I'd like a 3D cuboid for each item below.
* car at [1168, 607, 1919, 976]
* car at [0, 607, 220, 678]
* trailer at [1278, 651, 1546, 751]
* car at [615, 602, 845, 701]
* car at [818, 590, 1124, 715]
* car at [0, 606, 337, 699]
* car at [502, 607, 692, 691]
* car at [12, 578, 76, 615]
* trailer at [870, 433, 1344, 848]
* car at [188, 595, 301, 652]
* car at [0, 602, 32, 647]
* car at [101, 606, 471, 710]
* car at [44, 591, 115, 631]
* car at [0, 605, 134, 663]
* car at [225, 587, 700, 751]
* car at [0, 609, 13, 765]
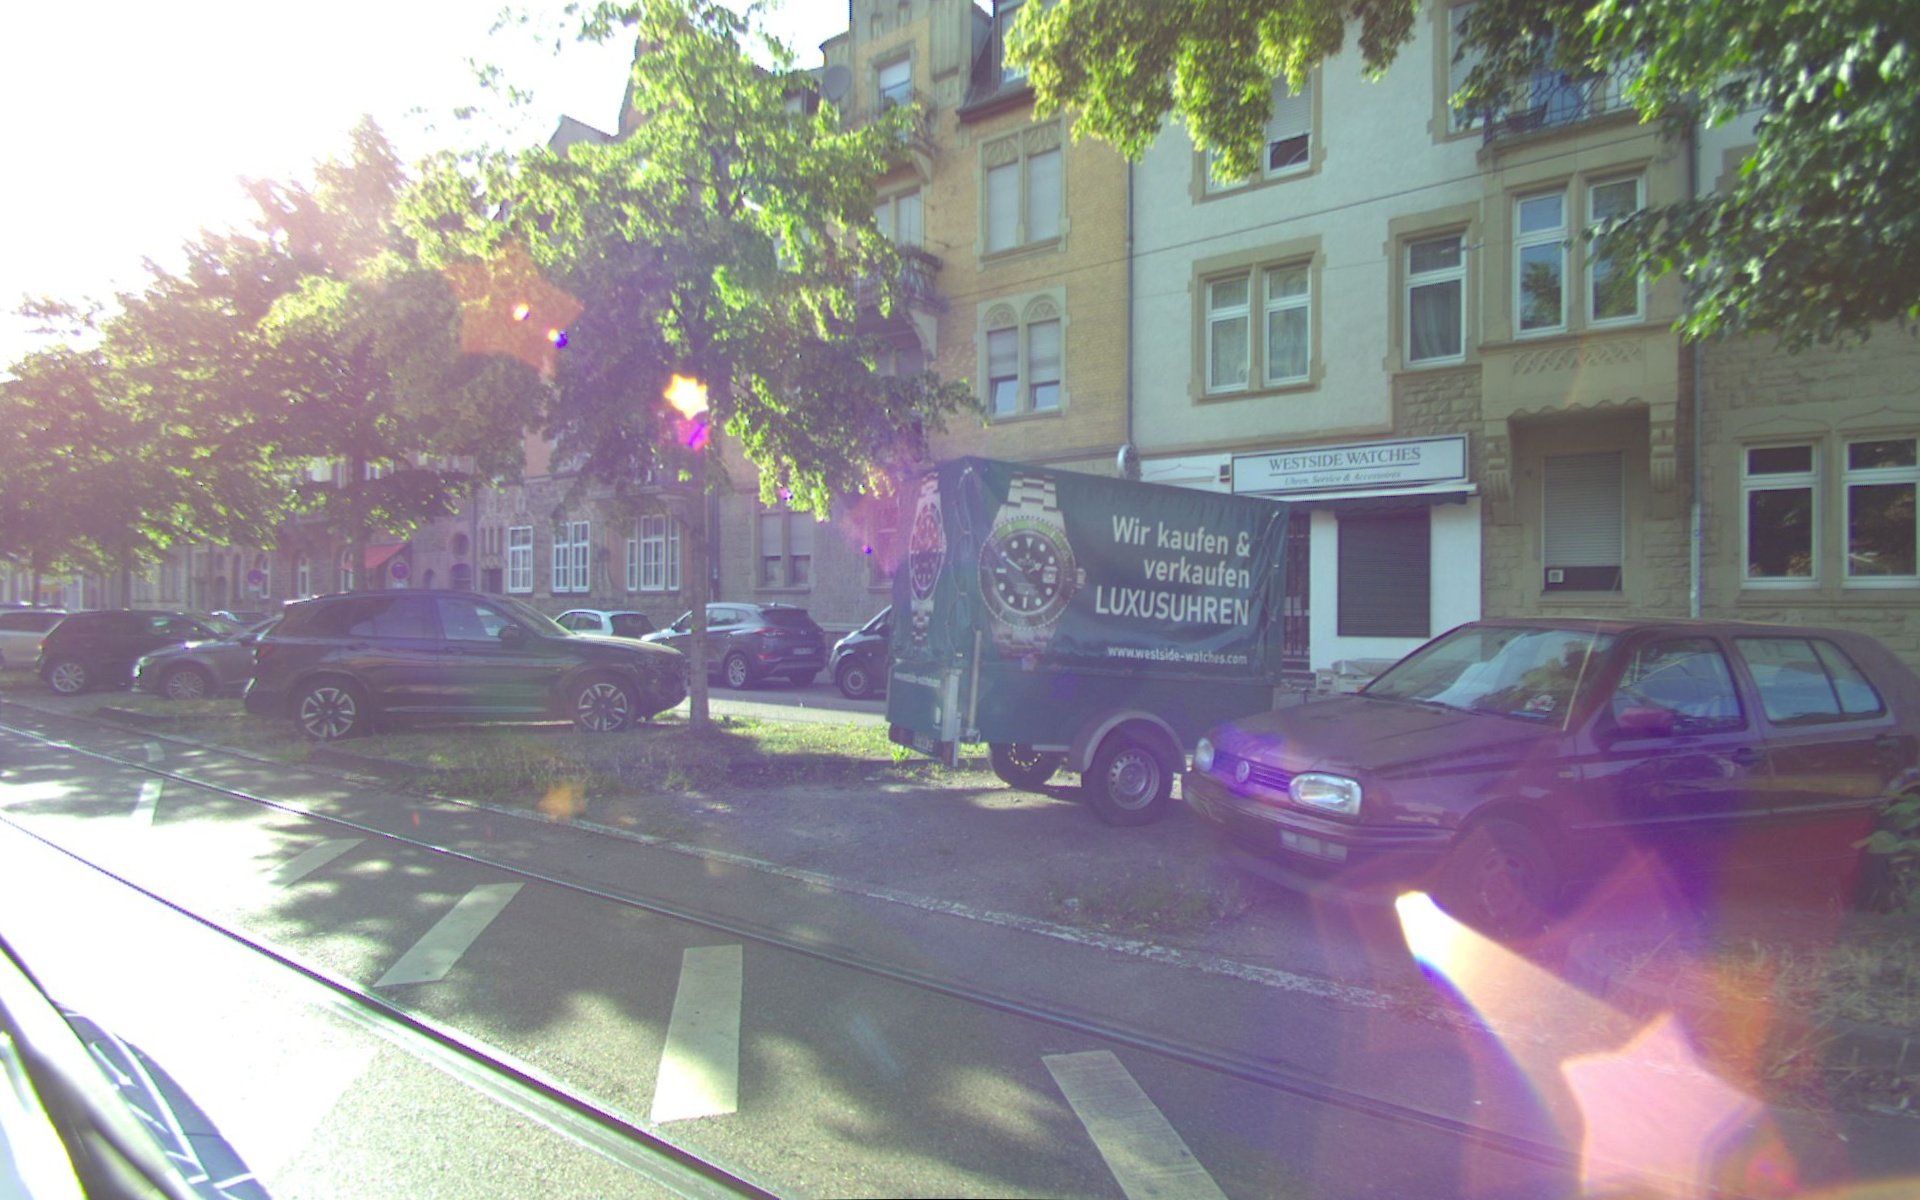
[{"bbox_3d":[3.214,0.736,5.131,3.886,1.370,1.678,0,-1,-17],"label":"car"},{"bbox_3d":[-18.995,0.901,22.137,4.201,1.433,1.686,-1,0,-12],"label":"car"},{"bbox_3d":[5.718,1.214,12.884,2.874,0.902,1.428,-1,4,37],"label":"trailer"},{"bbox_3d":[-4.723,0.956,20.497,4.605,1.763,2.144,-1,0,39],"label":"car"},{"bbox_3d":[0.089,0.749,16.585,4.712,1.763,2.144,-1,0,39],"label":"car"},{"bbox_3d":[-13.663,0.855,17.754,4.235,1.433,1.964,-1,0,-12],"label":"car"},{"bbox_3d":[-8.642,1.070,23.919,4.605,1.763,2.144,-1,0,39],"label":"car"},{"bbox_3d":[-51.944,-0.174,57.385,3.993,2.029,1.975,-1,0,37],"label":"car"},{"bbox_3d":[0.983,0.222,7.207,2.816,2.410,1.728,-1,0,-22],"label":"trailer"},{"bbox_3d":[-25.772,0.797,36.418,4.605,1.915,2.144,-1,0,39],"label":"car"},{"bbox_3d":[-32.988,0.782,32.479,4.201,1.433,2.177,0,-1,-12],"label":"car"},{"bbox_3d":[-10.265,0.829,15.840,4.531,1.392,1.707,-1,0,-19],"label":"car"},{"bbox_3d":[-46.085,0.565,52.975,3.992,2.029,1.976,-1,0,36],"label":"car"},{"bbox_3d":[-24.826,0.876,26.664,4.201,1.433,2.177,-1,0,-12],"label":"car"},{"bbox_3d":[-5.547,0.734,11.995,4.641,1.703,2.177,0,-1,-10],"label":"car"},{"bbox_3d":[-11.242,0.847,10.267,3.995,1.492,1.817,-1,-1,38],"label":"car"}]
